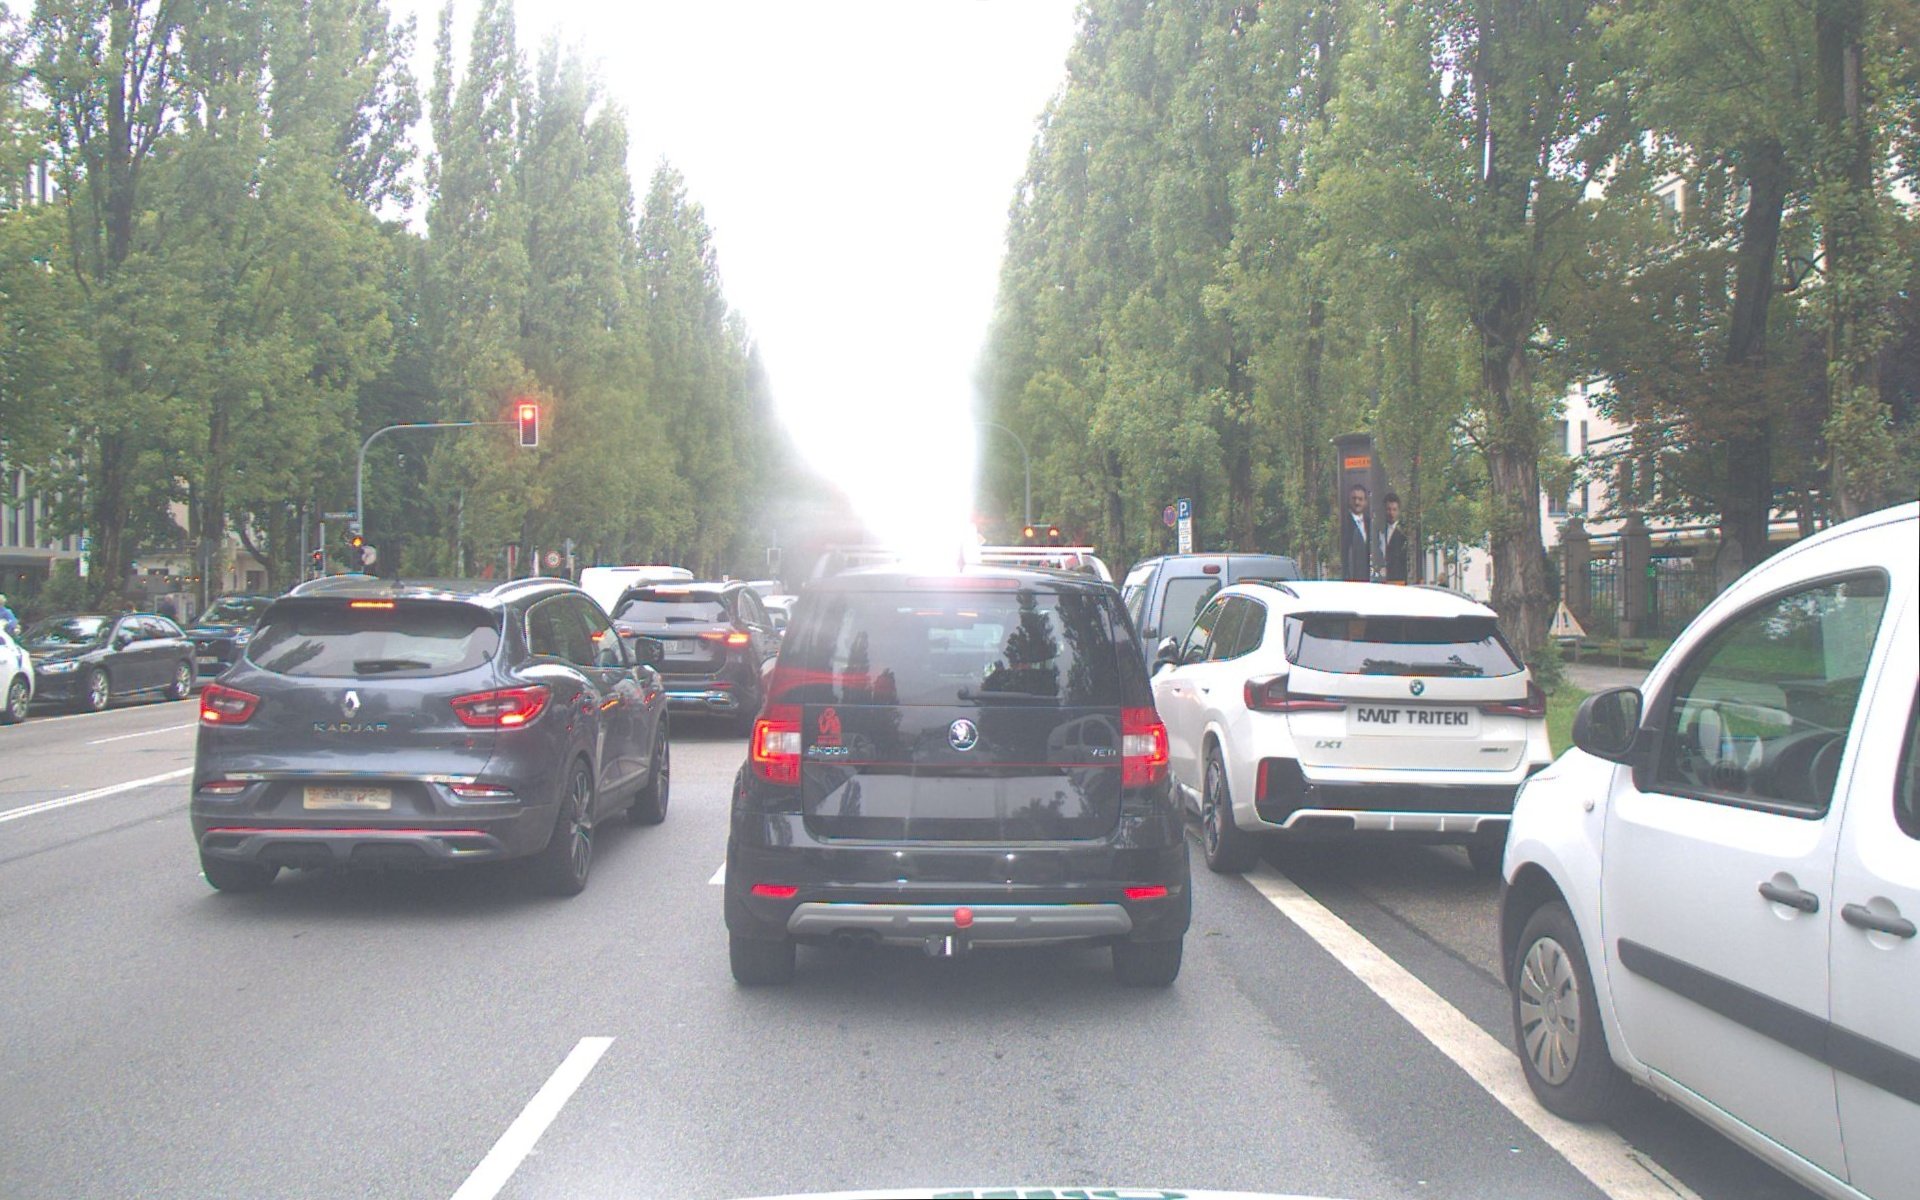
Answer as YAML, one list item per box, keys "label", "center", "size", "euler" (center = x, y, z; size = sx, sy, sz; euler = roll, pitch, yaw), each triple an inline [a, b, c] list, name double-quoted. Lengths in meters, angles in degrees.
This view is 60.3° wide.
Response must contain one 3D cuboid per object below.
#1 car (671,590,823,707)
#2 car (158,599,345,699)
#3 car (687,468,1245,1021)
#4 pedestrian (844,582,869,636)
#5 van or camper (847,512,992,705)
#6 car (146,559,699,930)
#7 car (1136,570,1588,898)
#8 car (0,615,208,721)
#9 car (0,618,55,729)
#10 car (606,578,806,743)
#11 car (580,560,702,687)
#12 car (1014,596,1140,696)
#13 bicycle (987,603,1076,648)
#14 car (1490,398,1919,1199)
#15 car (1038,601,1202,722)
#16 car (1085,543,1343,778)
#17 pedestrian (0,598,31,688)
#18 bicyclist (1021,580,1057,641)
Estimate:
- label: "car"
  center: [-3.156, 0.670, 25.230]
  size: [1.954, 1.588, 3.998]
  euler: [-1, 1, -3]
- label: "car"
  center: [-13.537, 0.878, 31.921]
  size: [1.813, 1.683, 4.692]
  euler: [-3, 0, -4]
- label: "car"
  center: [-0.025, 0.480, 7.511]
  size: [1.818, 1.801, 3.999]
  euler: [1, 0, -2]
- label: "pedestrian"
  center: [-3.995, 0.333, 64.032]
  size: [0.867, 2.049, 1.013]
  euler: [-1, 0, 1]
- label: "van or camper"
  center: [-0.655, 0.094, 24.358]
  size: [1.936, 2.593, 4.022]
  euler: [-1, 0, -3]
- label: "car"
  center: [-2.698, 0.633, 9.389]
  size: [1.798, 1.613, 4.184]
  euler: [1, 0, -1]
- label: "car"
  center: [2.244, 0.652, 10.397]
  size: [1.706, 1.620, 4.210]
  euler: [-1, 0, -2]
- label: "car"
  center: [-13.390, 0.999, 25.807]
  size: [1.591, 1.413, 4.163]
  euler: [-3, 0, -4]
- label: "car"
  center: [-13.102, 0.992, 20.565]
  size: [1.591, 1.413, 4.163]
  euler: [-3, 0, -4]
- label: "car"
  center: [-2.758, 0.592, 18.754]
  size: [1.745, 1.648, 4.023]
  euler: [0, 0, -2]
- label: "car"
  center: [-5.815, 0.408, 30.574]
  size: [1.746, 2.148, 4.021]
  euler: [-1, 0, -5]
- label: "car"
  center: [1.847, 0.697, 27.039]
  size: [1.700, 1.501, 3.561]
  euler: [-1, 0, -2]
- label: "bicycle"
  center: [2.082, 0.731, 48.163]
  size: [2.487, 1.259, 0.811]
  euler: [-1, 0, -8]
- label: "car"
  center: [2.724, 0.564, 3.335]
  size: [1.814, 1.914, 4.166]
  euler: [-1, 0, -3]
- label: "car"
  center: [2.021, 0.739, 21.741]
  size: [1.700, 1.411, 3.561]
  euler: [-1, 0, -2]
- label: "car"
  center: [2.253, 0.480, 15.672]
  size: [1.700, 1.928, 4.023]
  euler: [-1, 0, -2]
- label: "pedestrian"
  center: [-16.580, 0.743, 28.886]
  size: [0.455, 1.555, 0.395]
  euler: [-1, 0, -1]
- label: "bicyclist"
  center: [2.297, 0.309, 48.175]
  size: [0.888, 1.752, 0.823]
  euler: [-1, 0, -8]
